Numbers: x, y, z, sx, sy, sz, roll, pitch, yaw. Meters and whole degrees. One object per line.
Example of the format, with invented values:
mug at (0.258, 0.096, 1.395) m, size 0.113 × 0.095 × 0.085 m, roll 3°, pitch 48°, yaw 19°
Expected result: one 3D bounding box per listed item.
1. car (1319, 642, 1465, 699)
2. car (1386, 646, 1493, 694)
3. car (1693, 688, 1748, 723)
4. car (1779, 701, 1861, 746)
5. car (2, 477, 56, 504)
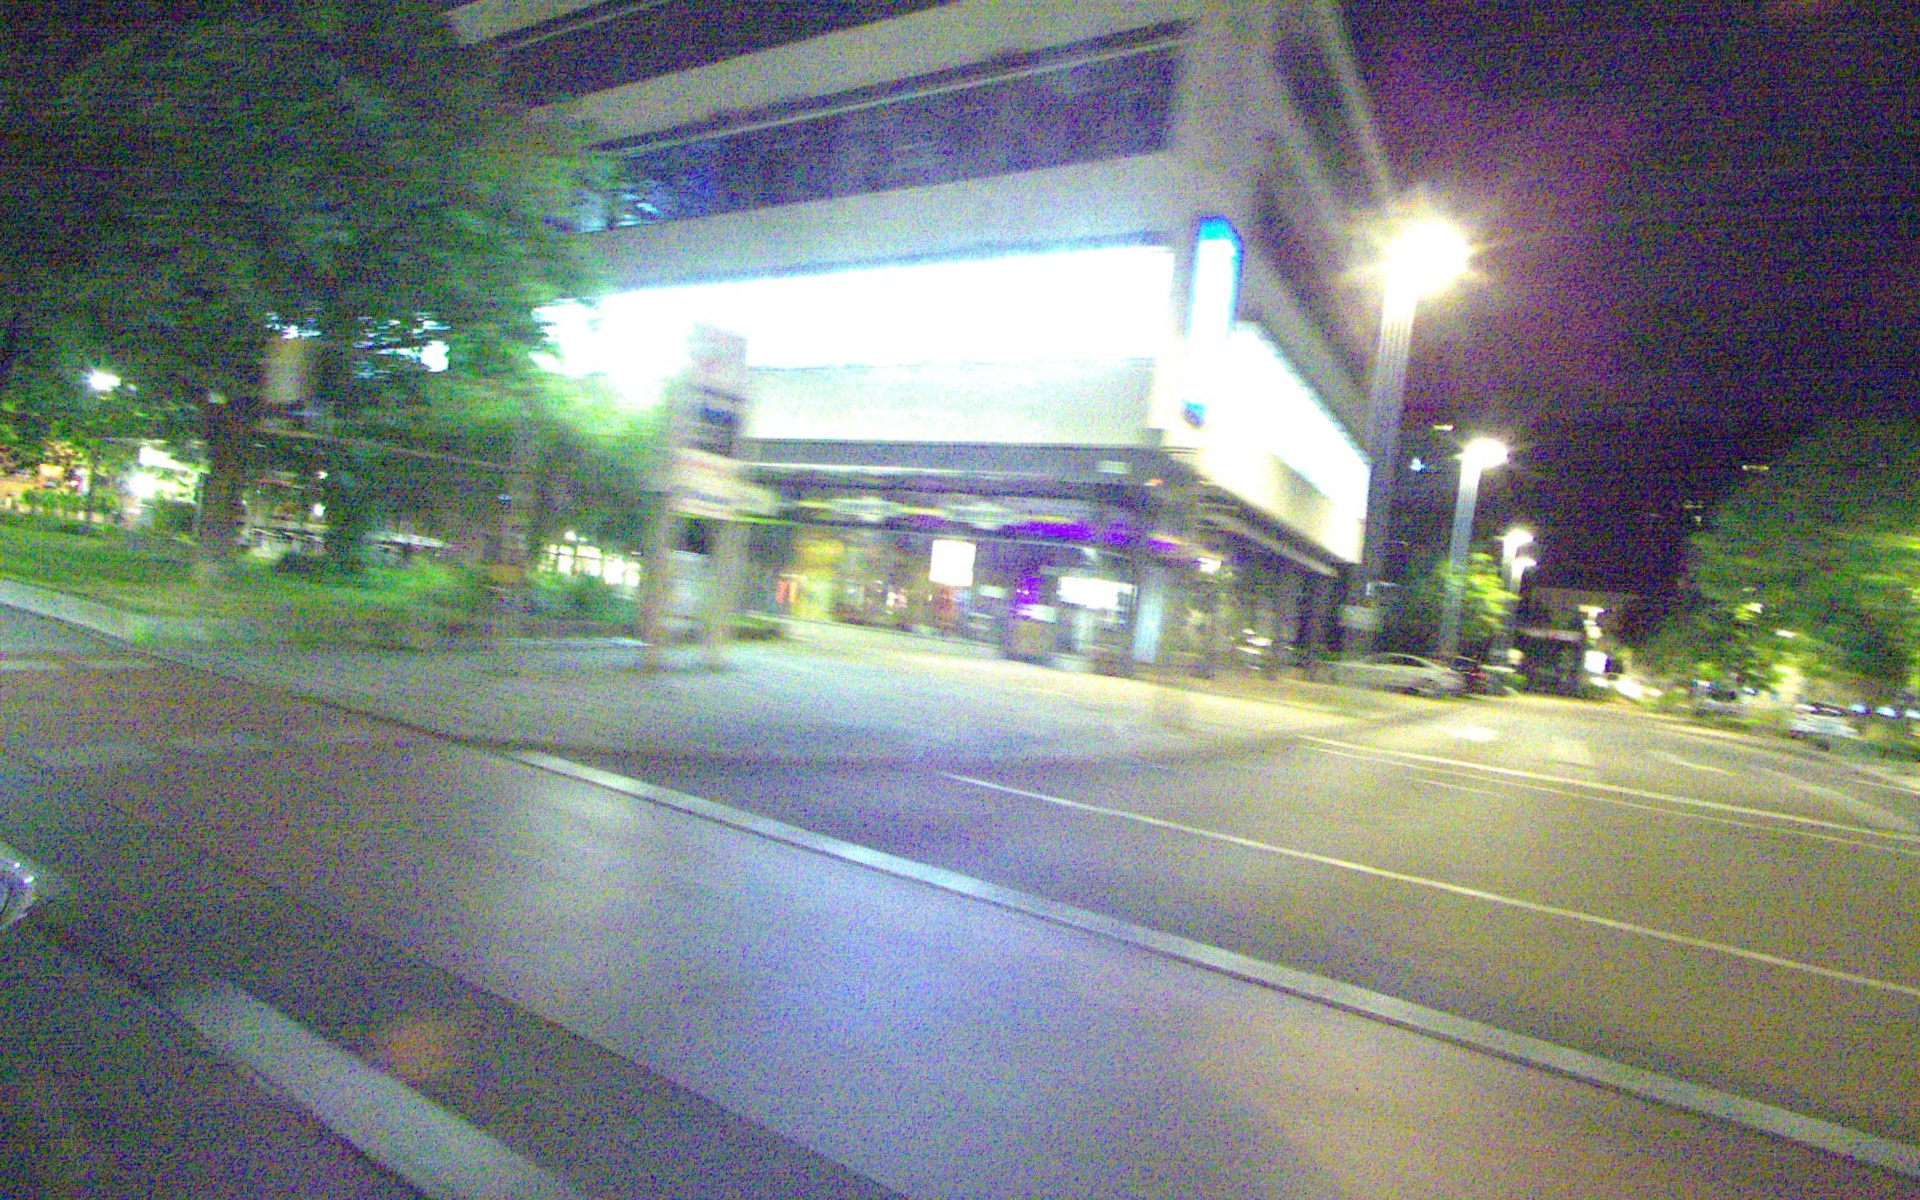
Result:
car at (16.315, 2.643, 38.015) m, size 4.770 × 1.490 × 1.997 m, roll 6°, pitch 0°, yaw 30°
car at (21.026, 3.055, 44.091) m, size 3.934 × 1.503 × 1.997 m, roll 6°, pitch -2°, yaw 32°
car at (40.373, 5.600, 53.364) m, size 1.972 × 1.526 × 3.981 m, roll 6°, pitch -1°, yaw 41°
car at (33.973, 4.838, 39.833) m, size 1.887 × 1.401 × 3.989 m, roll 6°, pitch -1°, yaw 34°
car at (-66.878, -7.857, 72.265) m, size 4.030 × 1.552 × 1.770 m, roll 7°, pitch 0°, yaw 31°
